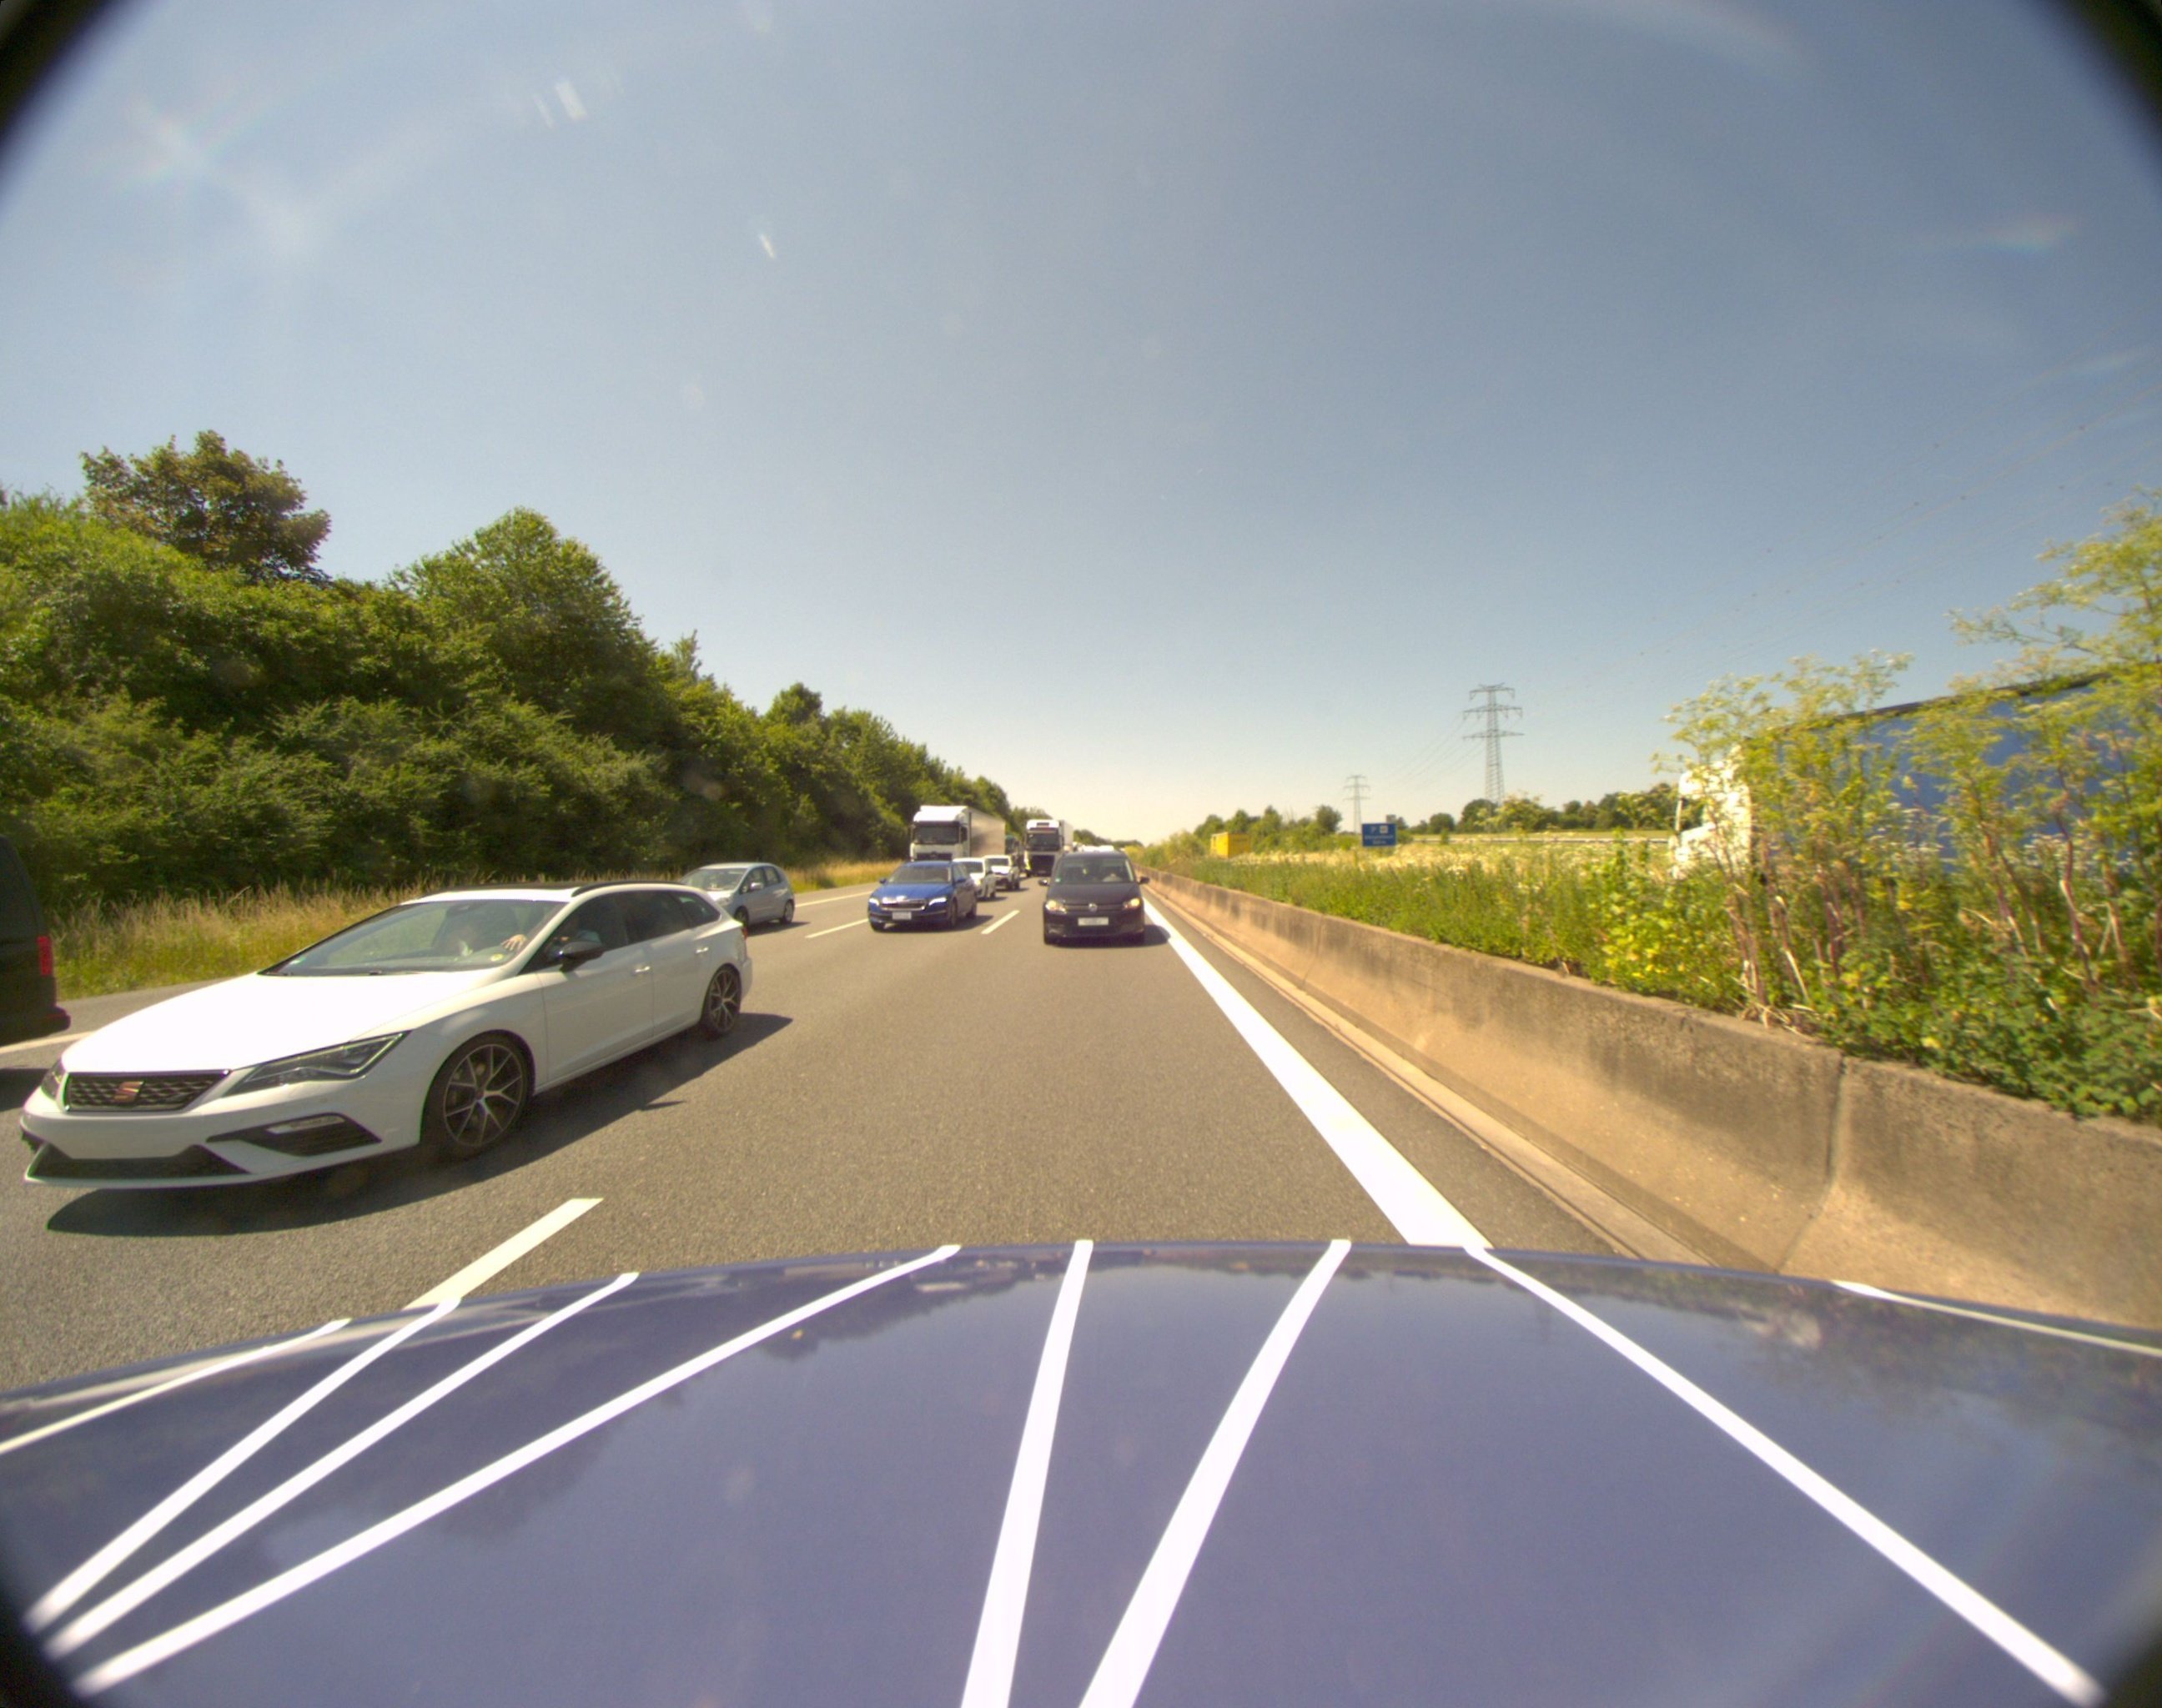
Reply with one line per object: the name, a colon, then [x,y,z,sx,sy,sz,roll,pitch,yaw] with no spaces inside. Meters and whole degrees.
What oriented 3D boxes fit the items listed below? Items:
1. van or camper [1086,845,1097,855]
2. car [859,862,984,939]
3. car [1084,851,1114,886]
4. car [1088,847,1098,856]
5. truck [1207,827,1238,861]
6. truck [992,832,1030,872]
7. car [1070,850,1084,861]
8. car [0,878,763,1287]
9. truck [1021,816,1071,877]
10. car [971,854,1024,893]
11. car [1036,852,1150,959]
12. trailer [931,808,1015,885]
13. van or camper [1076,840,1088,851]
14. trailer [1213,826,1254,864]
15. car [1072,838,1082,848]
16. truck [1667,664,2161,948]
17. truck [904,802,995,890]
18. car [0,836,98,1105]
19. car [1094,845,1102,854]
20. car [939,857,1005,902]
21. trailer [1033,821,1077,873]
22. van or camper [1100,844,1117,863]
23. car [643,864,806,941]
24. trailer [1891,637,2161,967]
van or camper: [2.220,-0.928,161.466,2.189,2.018,4.364,-2,1,3]
car: [-3.521,0.969,17.669,1.780,1.408,4.572,0,1,2]
car: [0.957,0.731,39.154,1.357,1.630,2.994,-3,1,3]
car: [2.301,-0.492,144.811,1.652,1.636,4.000,-2,1,3]
truck: [18.557,-1.287,100.362,2.785,4.212,7.324,-3,1,2]
truck: [-5.821,-0.213,64.123,2.299,3.128,5.675,-2,1,3]
car: [-0.504,0.190,103.119,1.650,1.336,3.381,-2,1,3]
car: [-4.043,1.003,5.221,1.752,1.435,4.313,-1,1,2]
truck: [-2.372,-0.560,55.153,2.750,3.972,8.361,-2,1,3]
car: [-3.607,0.799,33.495,1.748,1.549,3.884,0,1,2]
car: [0.275,0.803,14.557,1.758,1.571,5.291,-1,1,2]
trailer: [-6.462,-0.477,47.740,2.879,4.133,12.076,-2,1,3]
van or camper: [0.151,-2.215,190.765,2.745,2.679,5.363,-2,1,2]
trailer: [18.309,-1.112,91.901,2.828,4.182,10.685,-3,1,2]
car: [-0.807,-2.276,157.504,1.998,2.002,4.000,-2,1,2]
truck: [15.449,-0.757,14.805,3.019,4.203,6.686,-2,1,2]
truck: [-6.790,-0.418,40.589,2.879,4.133,8.475,-2,1,3]
car: [-8.790,0.889,3.551,1.918,1.929,4.856,-1,1,2]
car: [4.605,-1.333,202.082,1.998,2.302,4.229,-2,1,2]
car: [-3.815,0.850,27.099,1.609,1.426,3.810,0,1,3]
trailer: [-2.027,-0.578,62.574,2.776,3.951,9.156,-2,1,3]
van or camper: [3.594,-0.082,98.183,1.956,2.368,4.037,-3,1,3]
car: [-7.747,0.980,16.959,1.666,1.453,3.922,0,1,2]
trailer: [15.209,-0.669,7.500,3.019,4.203,10.981,-2,1,2]
